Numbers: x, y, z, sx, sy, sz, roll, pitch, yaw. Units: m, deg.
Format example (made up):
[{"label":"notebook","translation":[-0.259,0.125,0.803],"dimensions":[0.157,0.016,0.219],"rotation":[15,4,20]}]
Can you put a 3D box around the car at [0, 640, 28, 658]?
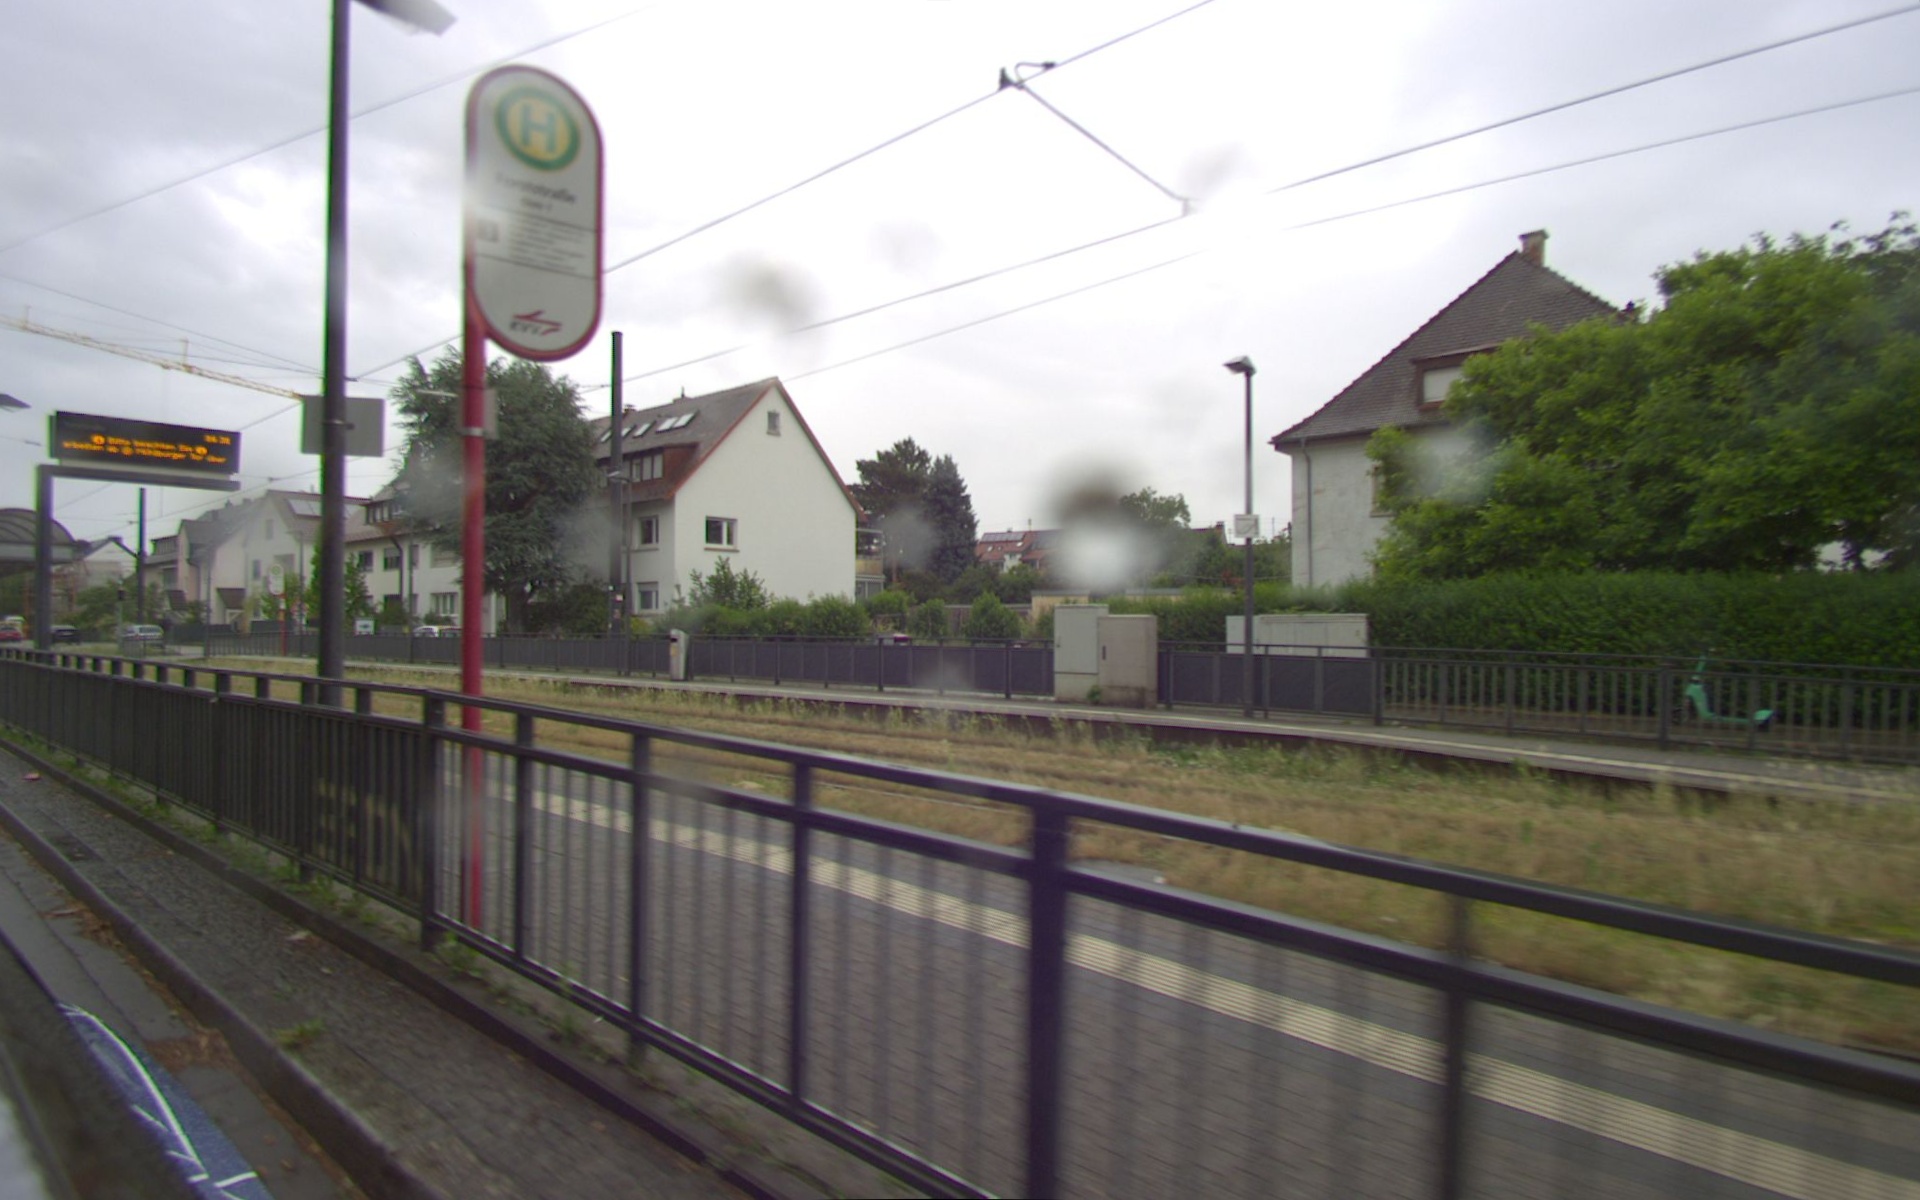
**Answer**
[{"label":"car","translation":[-84.327,4.328,89.622],"dimensions":[3.837,1.383,1.975],"rotation":[-1,-1,37]}]

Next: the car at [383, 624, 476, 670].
[{"label":"car","translation":[-18.860,1.630,35.939],"dimensions":[3.998,1.504,1.616],"rotation":[-1,-1,41]}]

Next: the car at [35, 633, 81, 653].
[{"label":"car","translation":[-68.180,3.232,76.487],"dimensions":[4.167,1.437,1.820],"rotation":[-2,-2,37]}]

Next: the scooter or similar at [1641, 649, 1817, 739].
[{"label":"scooter or similar","translation":[10.502,1.249,13.863],"dimensions":[1.866,1.079,0.656],"rotation":[-1,-1,42]}]
